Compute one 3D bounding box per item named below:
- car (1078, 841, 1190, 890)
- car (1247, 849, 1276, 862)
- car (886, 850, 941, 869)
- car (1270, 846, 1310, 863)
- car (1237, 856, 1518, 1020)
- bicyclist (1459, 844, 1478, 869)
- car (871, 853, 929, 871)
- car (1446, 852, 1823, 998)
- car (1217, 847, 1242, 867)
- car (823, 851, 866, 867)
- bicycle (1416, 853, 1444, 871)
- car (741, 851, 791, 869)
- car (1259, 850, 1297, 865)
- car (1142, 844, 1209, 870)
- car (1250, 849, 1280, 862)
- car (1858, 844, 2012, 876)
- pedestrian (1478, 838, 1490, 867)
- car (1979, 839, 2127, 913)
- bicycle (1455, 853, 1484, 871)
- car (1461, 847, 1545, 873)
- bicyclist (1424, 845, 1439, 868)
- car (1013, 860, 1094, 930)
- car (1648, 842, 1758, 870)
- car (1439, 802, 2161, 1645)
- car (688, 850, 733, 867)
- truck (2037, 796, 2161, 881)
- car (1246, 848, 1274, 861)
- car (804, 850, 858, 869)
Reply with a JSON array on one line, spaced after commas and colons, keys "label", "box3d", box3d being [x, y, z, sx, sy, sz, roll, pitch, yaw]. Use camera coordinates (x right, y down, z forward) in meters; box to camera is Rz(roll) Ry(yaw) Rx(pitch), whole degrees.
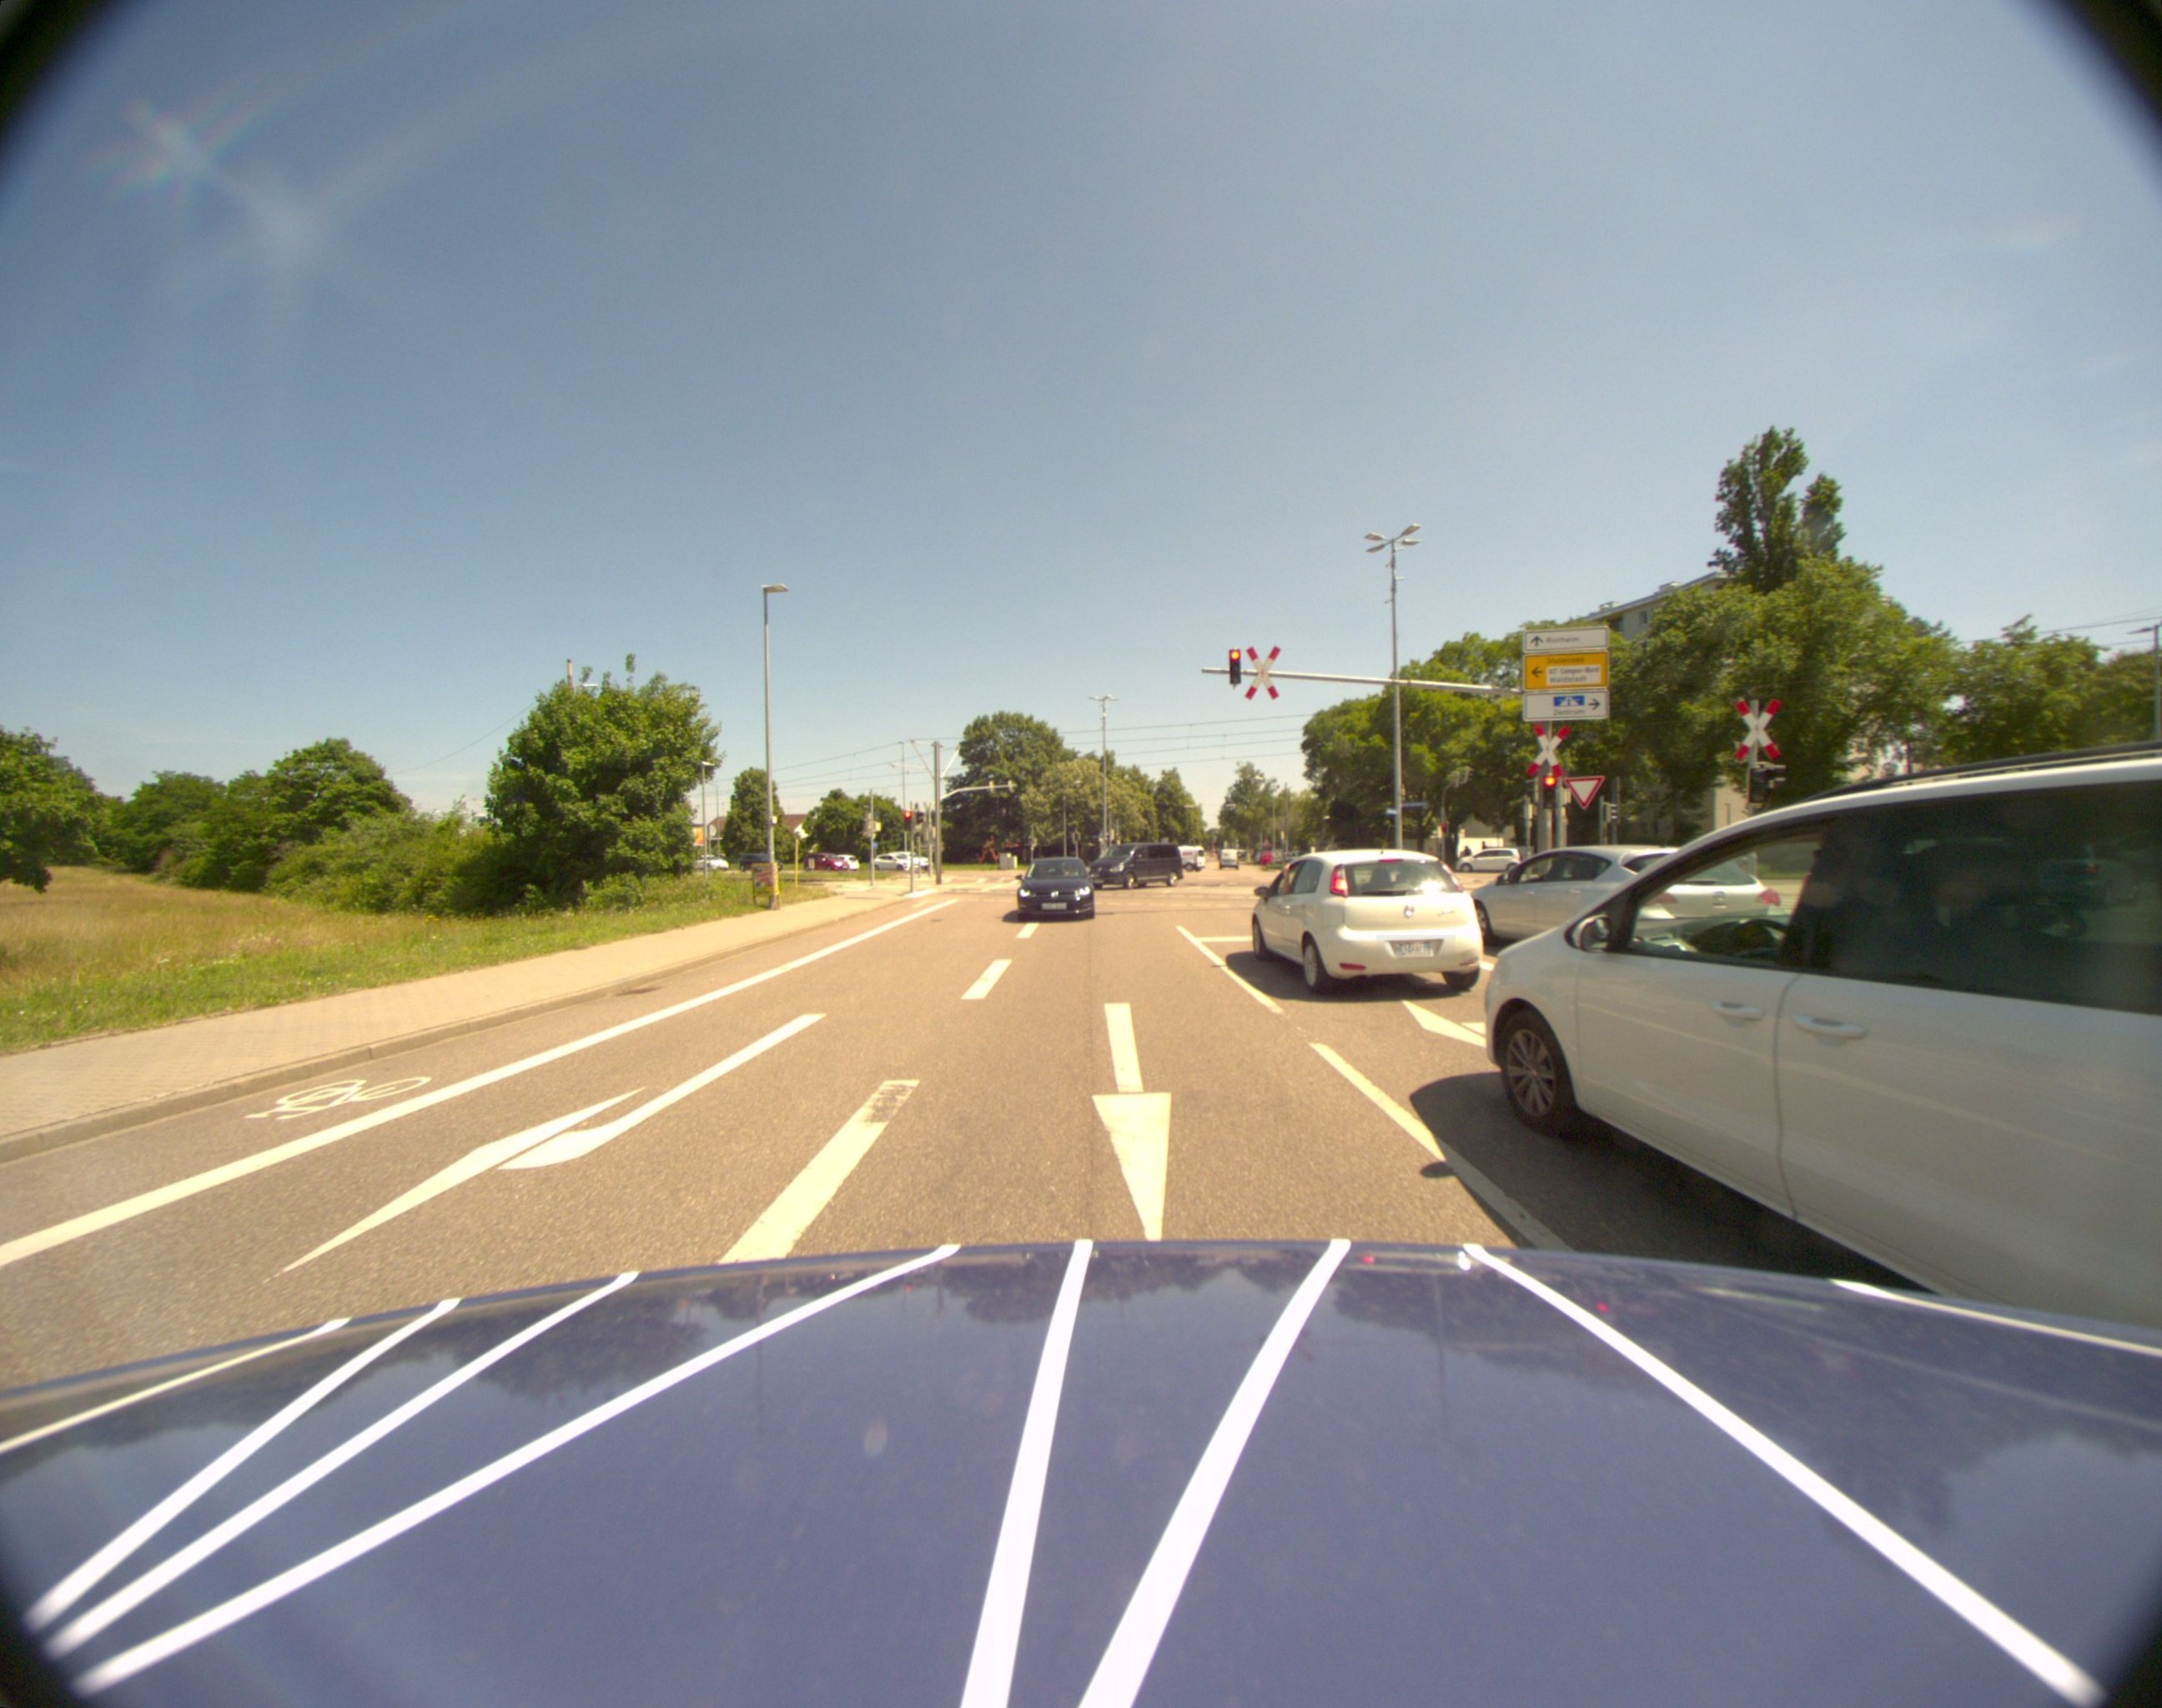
[{"label": "car", "box3d": [2.307, 0.455, 32.210, 4.856, 1.919, 1.937, -1, -1, -44]}, {"label": "car", "box3d": [23.122, 0.249, 97.483, 3.487, 1.545, 1.586, -2, -2, 9]}, {"label": "car", "box3d": [-13.949, 0.480, 63.315, 4.400, 1.567, 1.879, -1, 0, 32]}, {"label": "car", "box3d": [20.104, 0.062, 73.328, 3.488, 1.419, 1.586, -2, -2, 6]}, {"label": "car", "box3d": [3.171, 0.792, 9.066, 1.772, 1.429, 3.960, -2, 0, 0]}, {"label": "bicyclist", "box3d": [24.823, 0.141, 48.664, 0.648, 1.536, 0.908, -2, 3, -13]}, {"label": "car", "box3d": [-14.283, 0.611, 59.748, 4.400, 1.380, 1.879, -1, 0, 32]}, {"label": "car", "box3d": [6.647, 0.715, 9.889, 1.795, 1.447, 4.413, 0, 0, 2]}, {"label": "car", "box3d": [13.276, 0.247, 68.026, 1.809, 1.707, 4.345, 0, 0, 5]}, {"label": "car", "box3d": [-22.534, 0.503, 72.514, 3.887, 1.496, 1.735, 0, 0, 30]}, {"label": "bicycle", "box3d": [22.679, 0.509, 49.405, 0.616, 1.057, 1.803, -2, 1, -13]}, {"label": "car", "box3d": [-28.026, 0.511, 67.614, 4.400, 1.567, 1.879, -1, 0, 32]}, {"label": "car", "box3d": [19.911, 0.370, 76.900, 3.487, 1.419, 1.586, -2, -2, 9]}, {"label": "car", "box3d": [6.759, 0.253, 54.694, 4.380, 1.782, 1.901, -1, -2, 30]}, {"label": "car", "box3d": [23.085, 0.186, 95.345, 3.487, 1.545, 1.586, -2, -2, 9]}, {"label": "car", "box3d": [36.161, 0.270, 32.314, 3.989, 1.279, 1.751, -1, -2, 30]}, {"label": "pedestrian", "box3d": [26.049, -0.094, 49.075, 0.677, 1.825, 0.609, 0, 2, 30]}, {"label": "car", "box3d": [22.635, 0.507, 17.662, 4.265, 1.537, 1.743, 1, -1, -33]}, {"label": "bicycle", "box3d": [24.850, 0.482, 48.648, 0.616, 1.057, 1.803, -2, 3, -13]}, {"label": "car", "box3d": [24.736, 0.355, 44.549, 4.203, 1.416, 1.853, -1, 0, 32]}, {"label": "bicyclist", "box3d": [22.707, 0.173, 49.236, 0.616, 1.460, 0.628, -2, 3, -14]}, {"label": "car", "box3d": [-0.691, 0.902, 18.431, 1.709, 1.396, 4.052, -2, 0, -3]}, {"label": "car", "box3d": [32.267, 0.128, 39.578, 4.203, 1.416, 1.853, -1, 0, 32]}, {"label": "car", "box3d": [3.097, 0.727, 2.279, 1.816, 1.713, 4.831, -1, 0, 1]}, {"label": "car", "box3d": [-34.783, 0.461, 71.268, 4.400, 1.567, 1.734, -1, 0, 32]}, {"label": "truck", "box3d": [46.414, -0.625, 31.673, 7.690, 3.511, 2.594, -1, -2, 32]}, {"label": "car", "box3d": [24.180, 0.108, 102.671, 3.487, 1.570, 1.586, -2, -2, 9]}, {"label": "car", "box3d": [-20.918, 0.479, 63.564, 4.400, 1.567, 1.879, -1, 0, 32]}]
